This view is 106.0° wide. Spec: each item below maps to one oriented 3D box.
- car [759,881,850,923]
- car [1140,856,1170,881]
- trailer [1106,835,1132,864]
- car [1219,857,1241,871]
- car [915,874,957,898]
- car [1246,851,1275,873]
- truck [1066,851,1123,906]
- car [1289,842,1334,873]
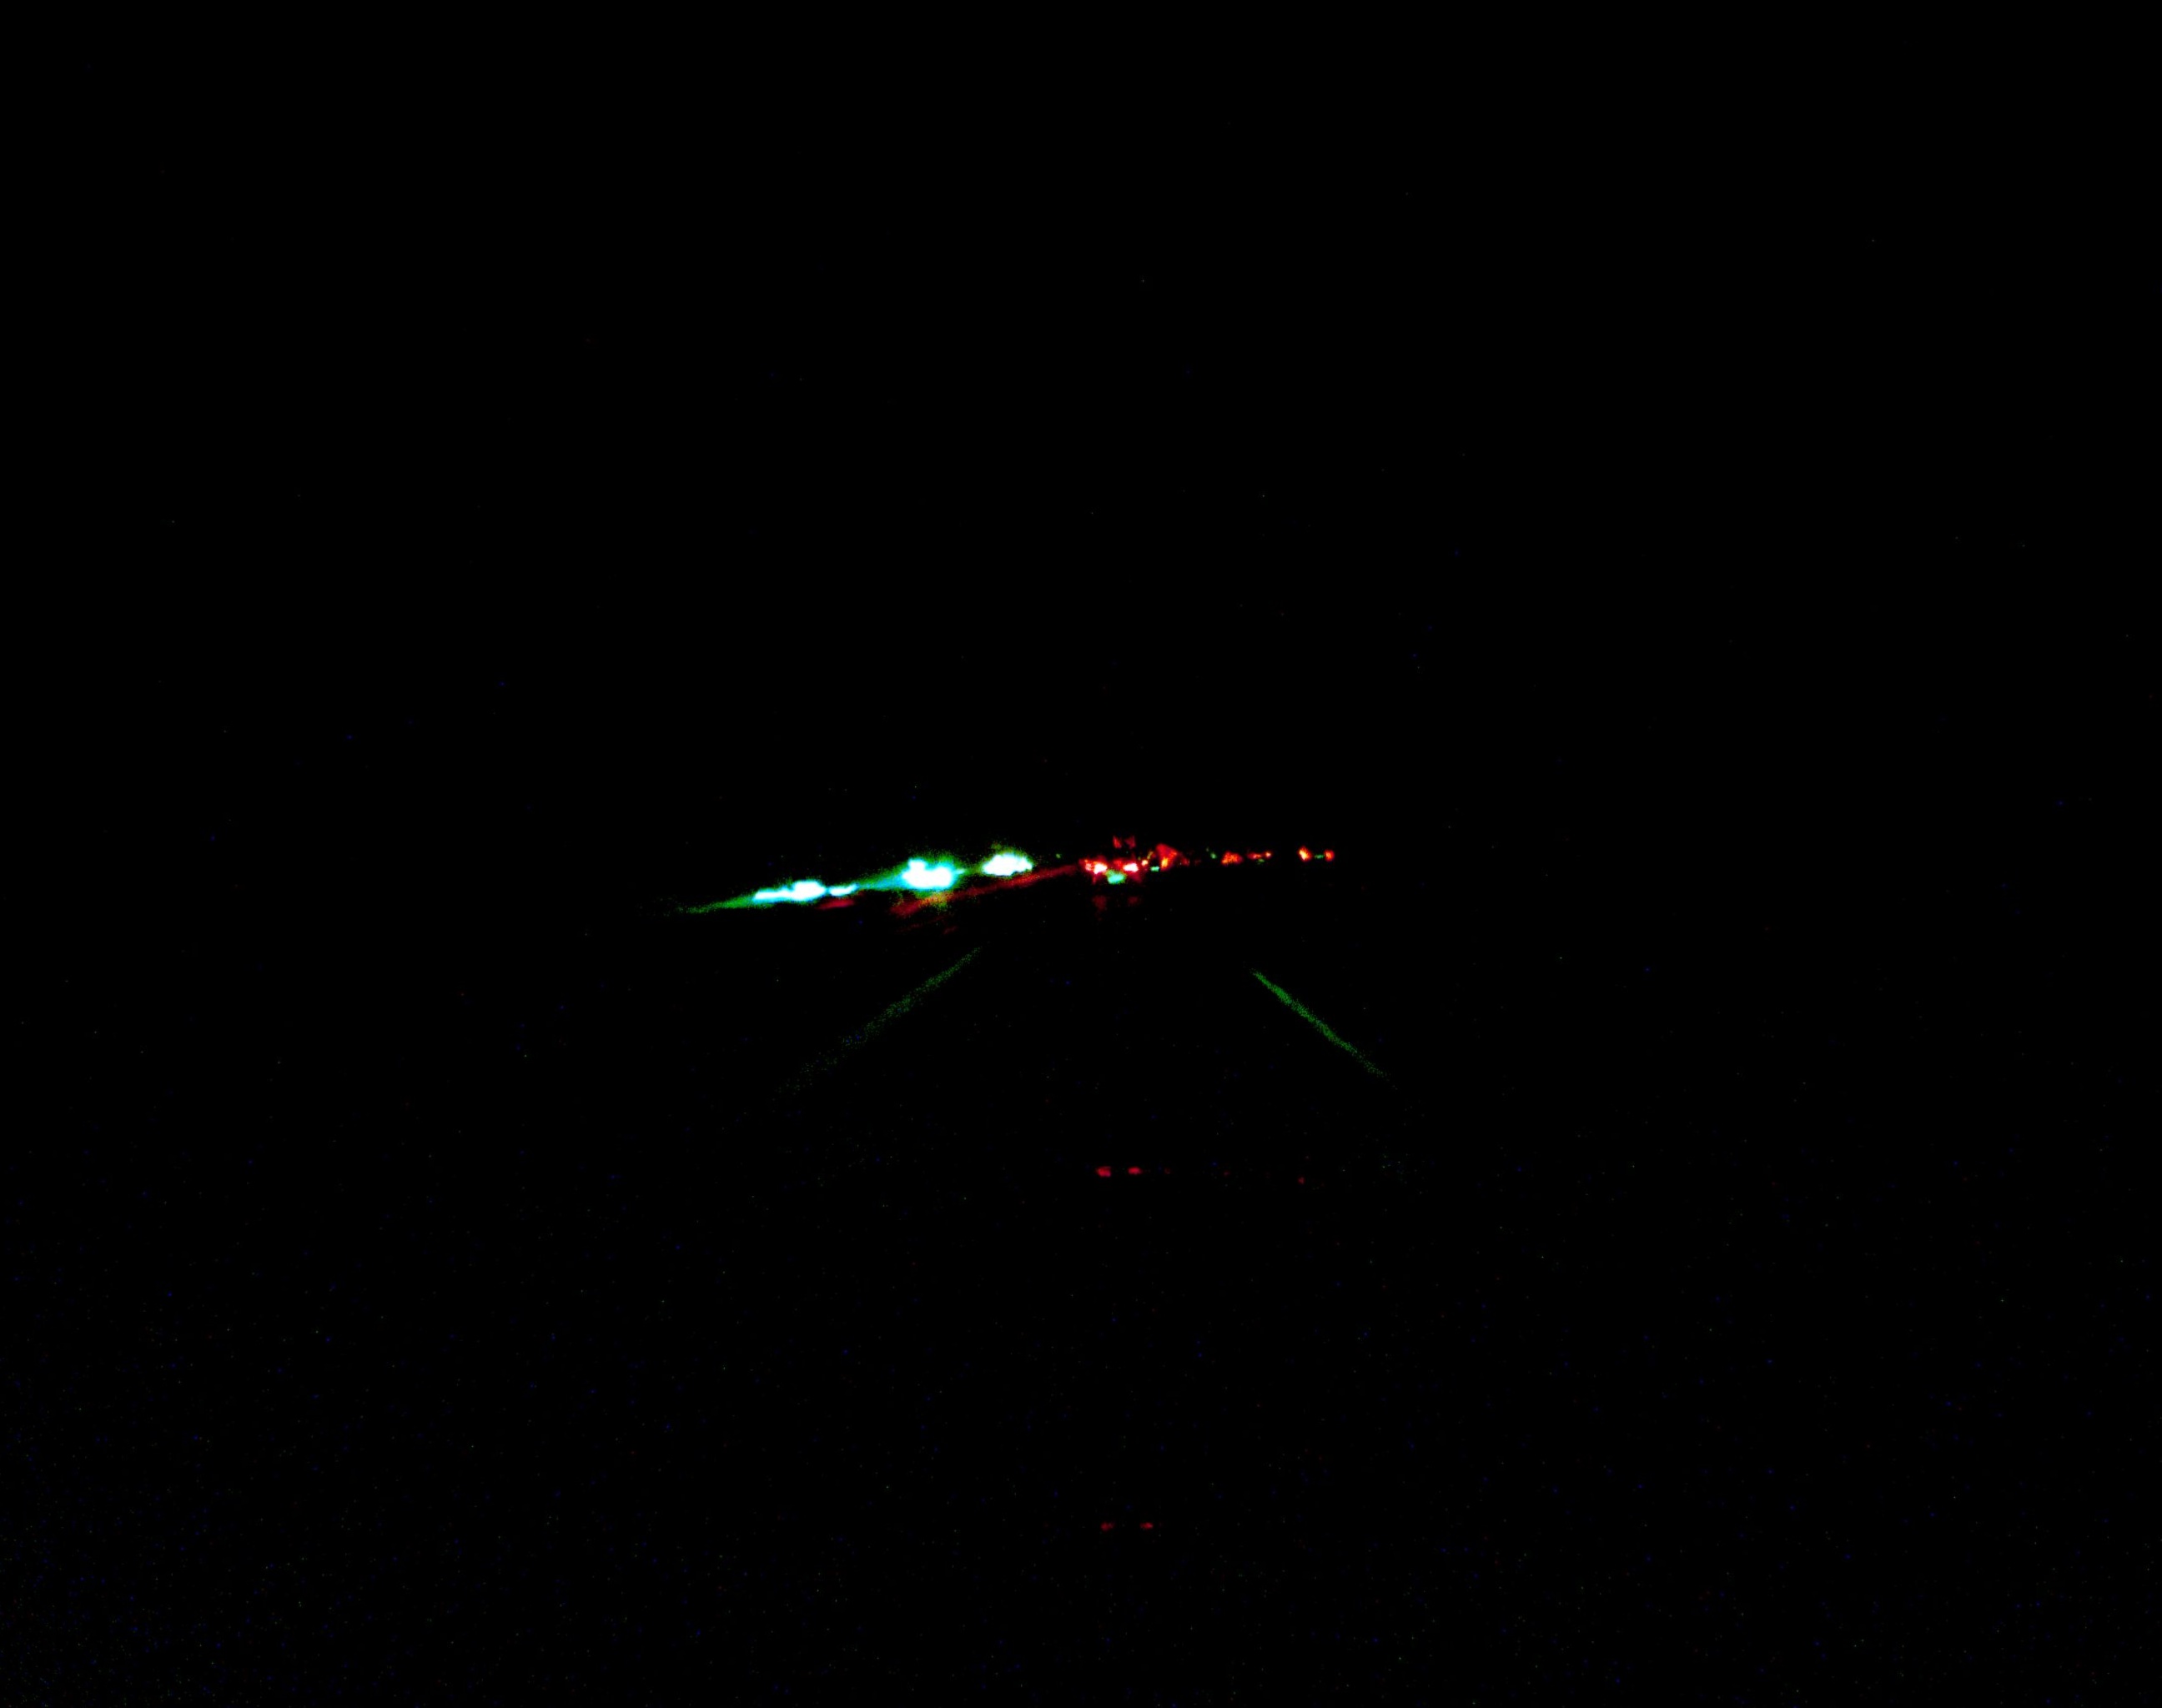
[{"bbox_3d":[-11.367,1.928,33.843,1.985,1.525,4.673,0,-1,2],"label":"car"},{"bbox_3d":[5.346,1.021,59.103,1.794,1.617,4.257,-4,-1,1],"label":"car"},{"bbox_3d":[6.377,-0.875,138.624,2.733,4.246,13.358,4,2,-3],"label":"trailer"},{"bbox_3d":[18.410,1.222,100.681,1.986,1.600,4.001,0,-1,1],"label":"car"},{"bbox_3d":[-10.350,2.269,58.584,1.985,1.525,4.673,0,-1,2],"label":"car"},{"bbox_3d":[17.075,0.778,77.650,2.221,2.013,4.008,-1,0,7],"label":"car"},{"bbox_3d":[0.691,0.951,34.188,2.136,2.077,6.609,0,-1,3],"label":"truck"},{"bbox_3d":[15.622,0.226,55.421,2.052,2.013,5.459,-1,0,7],"label":"car"}]
